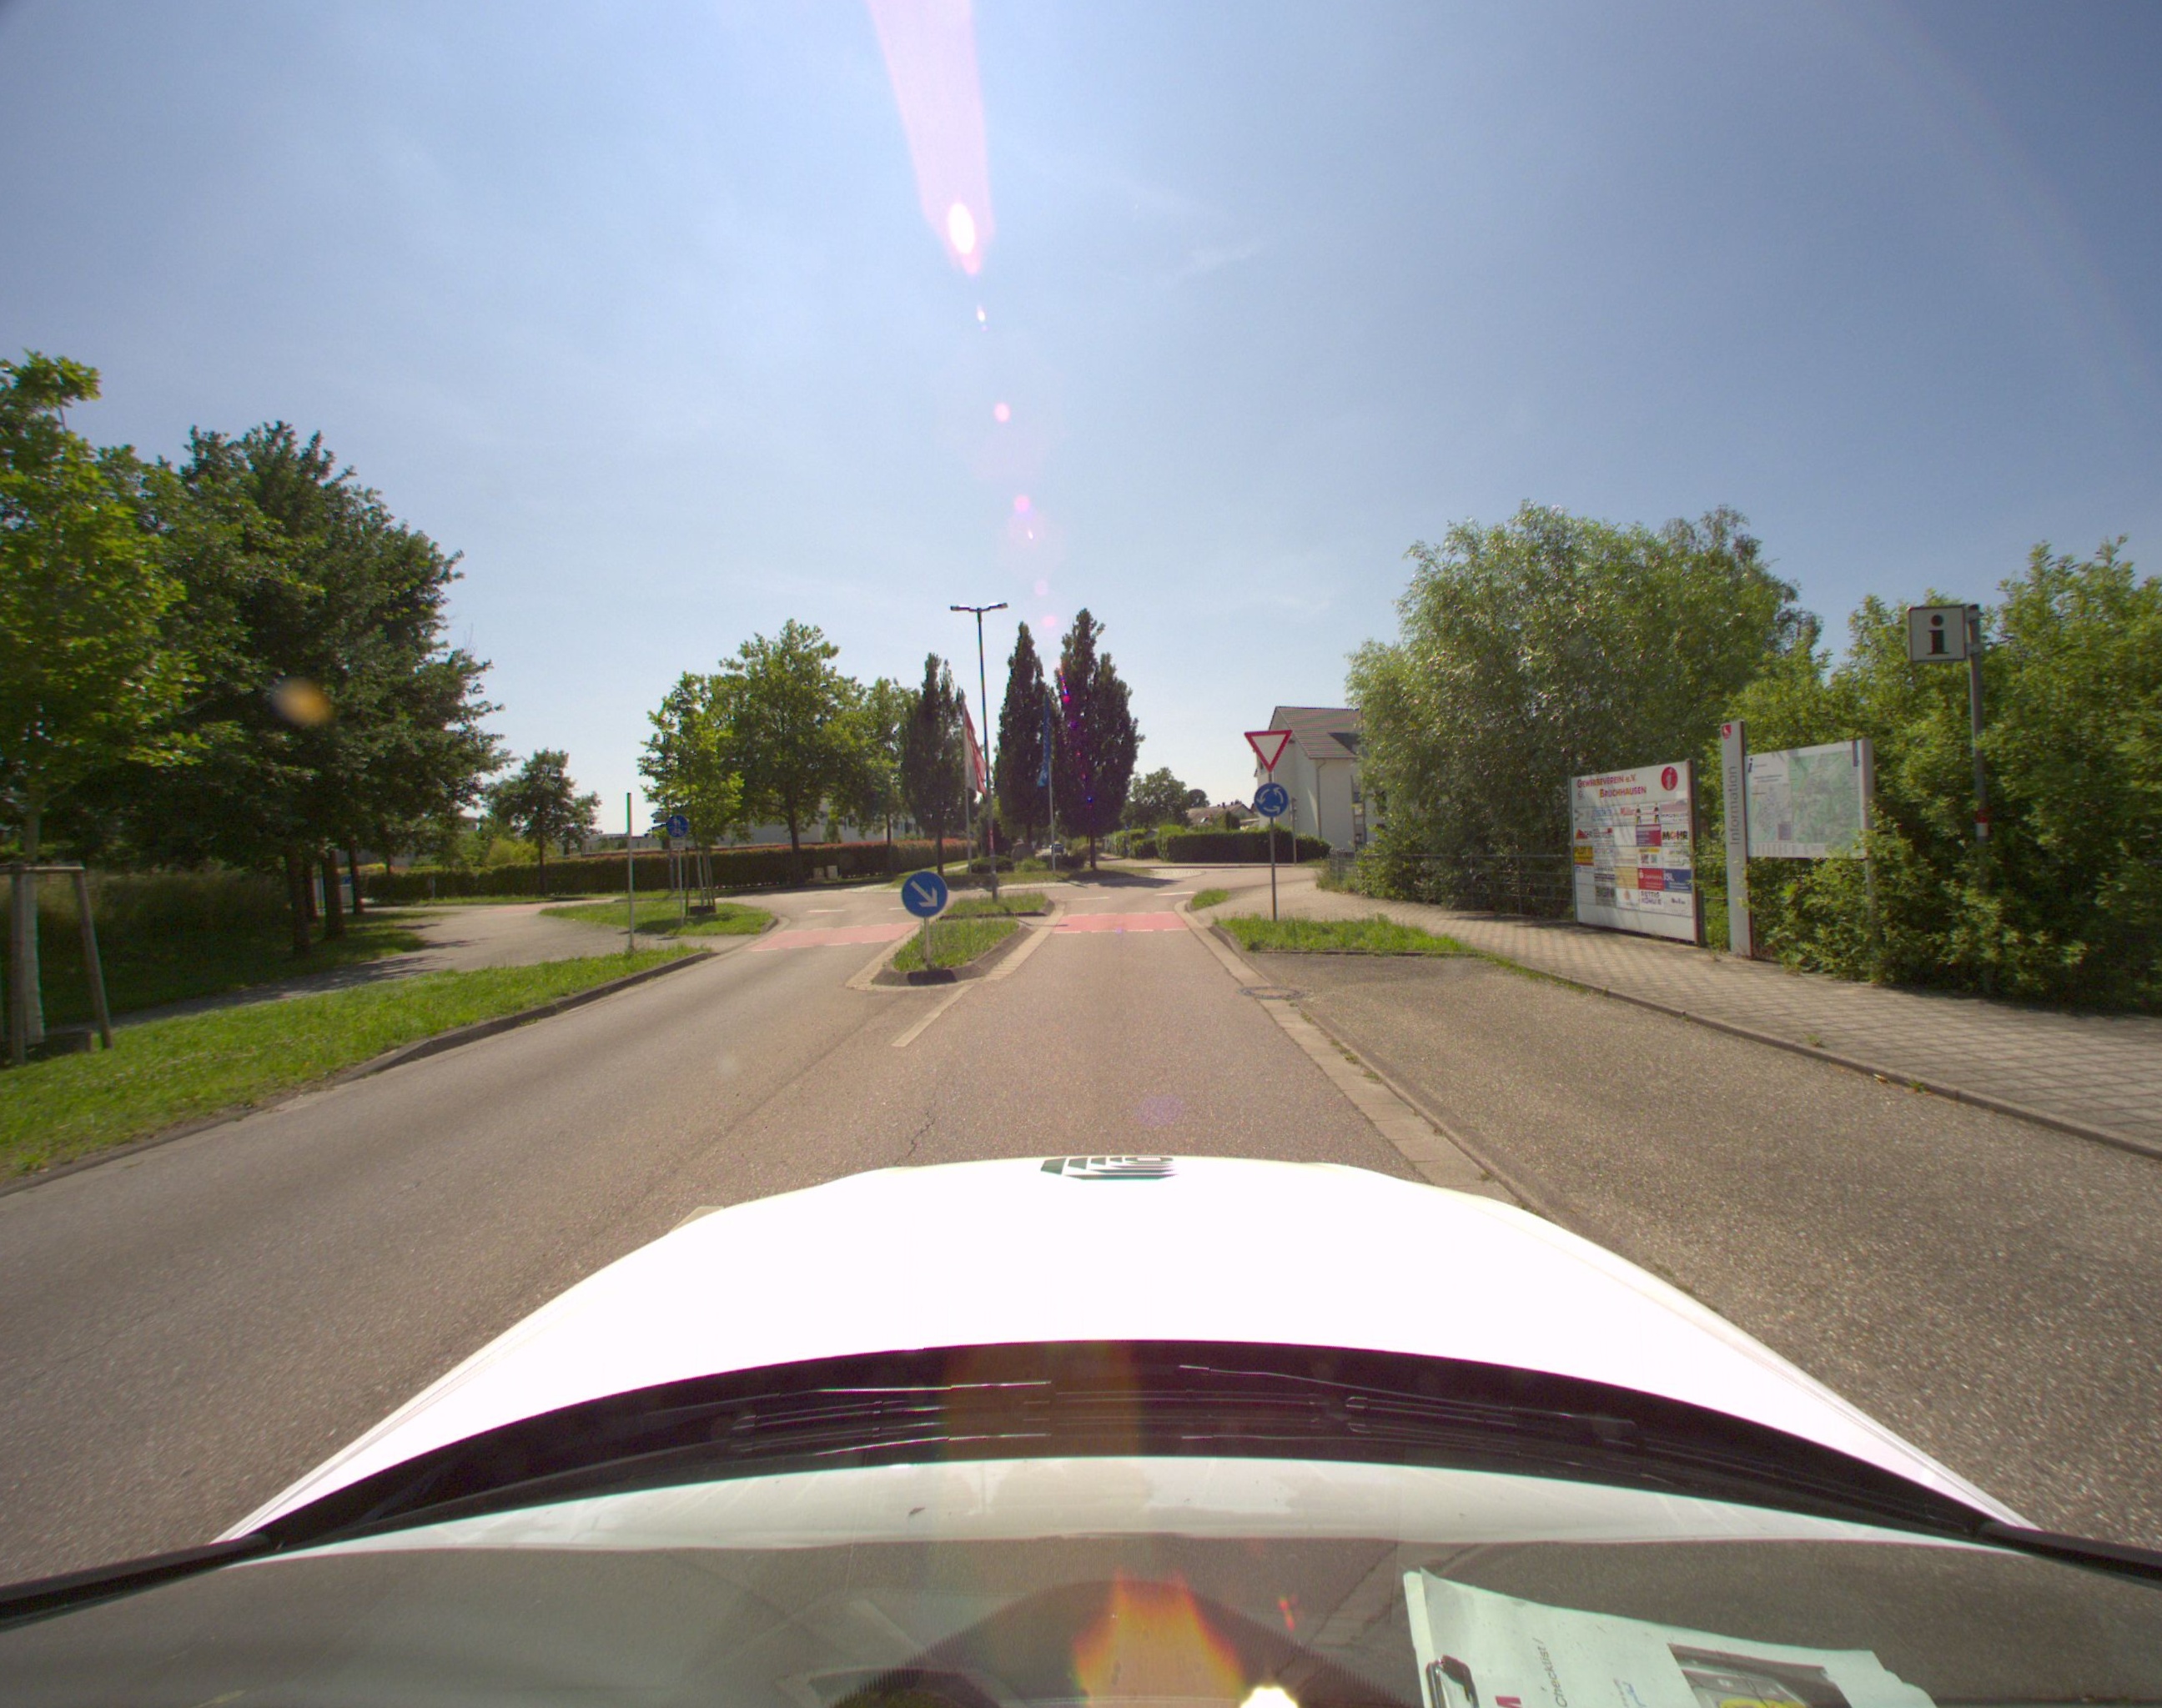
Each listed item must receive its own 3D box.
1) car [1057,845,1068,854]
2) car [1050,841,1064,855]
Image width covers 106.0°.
[{"bbox_3d":[-3.645,-0.882,159.001,1.988,1.770,3.998,-1,0,-1],"label":"car"},{"bbox_3d":[-3.503,-0.862,119.305,1.918,1.886,3.997,-1,0,-2],"label":"car"}]
